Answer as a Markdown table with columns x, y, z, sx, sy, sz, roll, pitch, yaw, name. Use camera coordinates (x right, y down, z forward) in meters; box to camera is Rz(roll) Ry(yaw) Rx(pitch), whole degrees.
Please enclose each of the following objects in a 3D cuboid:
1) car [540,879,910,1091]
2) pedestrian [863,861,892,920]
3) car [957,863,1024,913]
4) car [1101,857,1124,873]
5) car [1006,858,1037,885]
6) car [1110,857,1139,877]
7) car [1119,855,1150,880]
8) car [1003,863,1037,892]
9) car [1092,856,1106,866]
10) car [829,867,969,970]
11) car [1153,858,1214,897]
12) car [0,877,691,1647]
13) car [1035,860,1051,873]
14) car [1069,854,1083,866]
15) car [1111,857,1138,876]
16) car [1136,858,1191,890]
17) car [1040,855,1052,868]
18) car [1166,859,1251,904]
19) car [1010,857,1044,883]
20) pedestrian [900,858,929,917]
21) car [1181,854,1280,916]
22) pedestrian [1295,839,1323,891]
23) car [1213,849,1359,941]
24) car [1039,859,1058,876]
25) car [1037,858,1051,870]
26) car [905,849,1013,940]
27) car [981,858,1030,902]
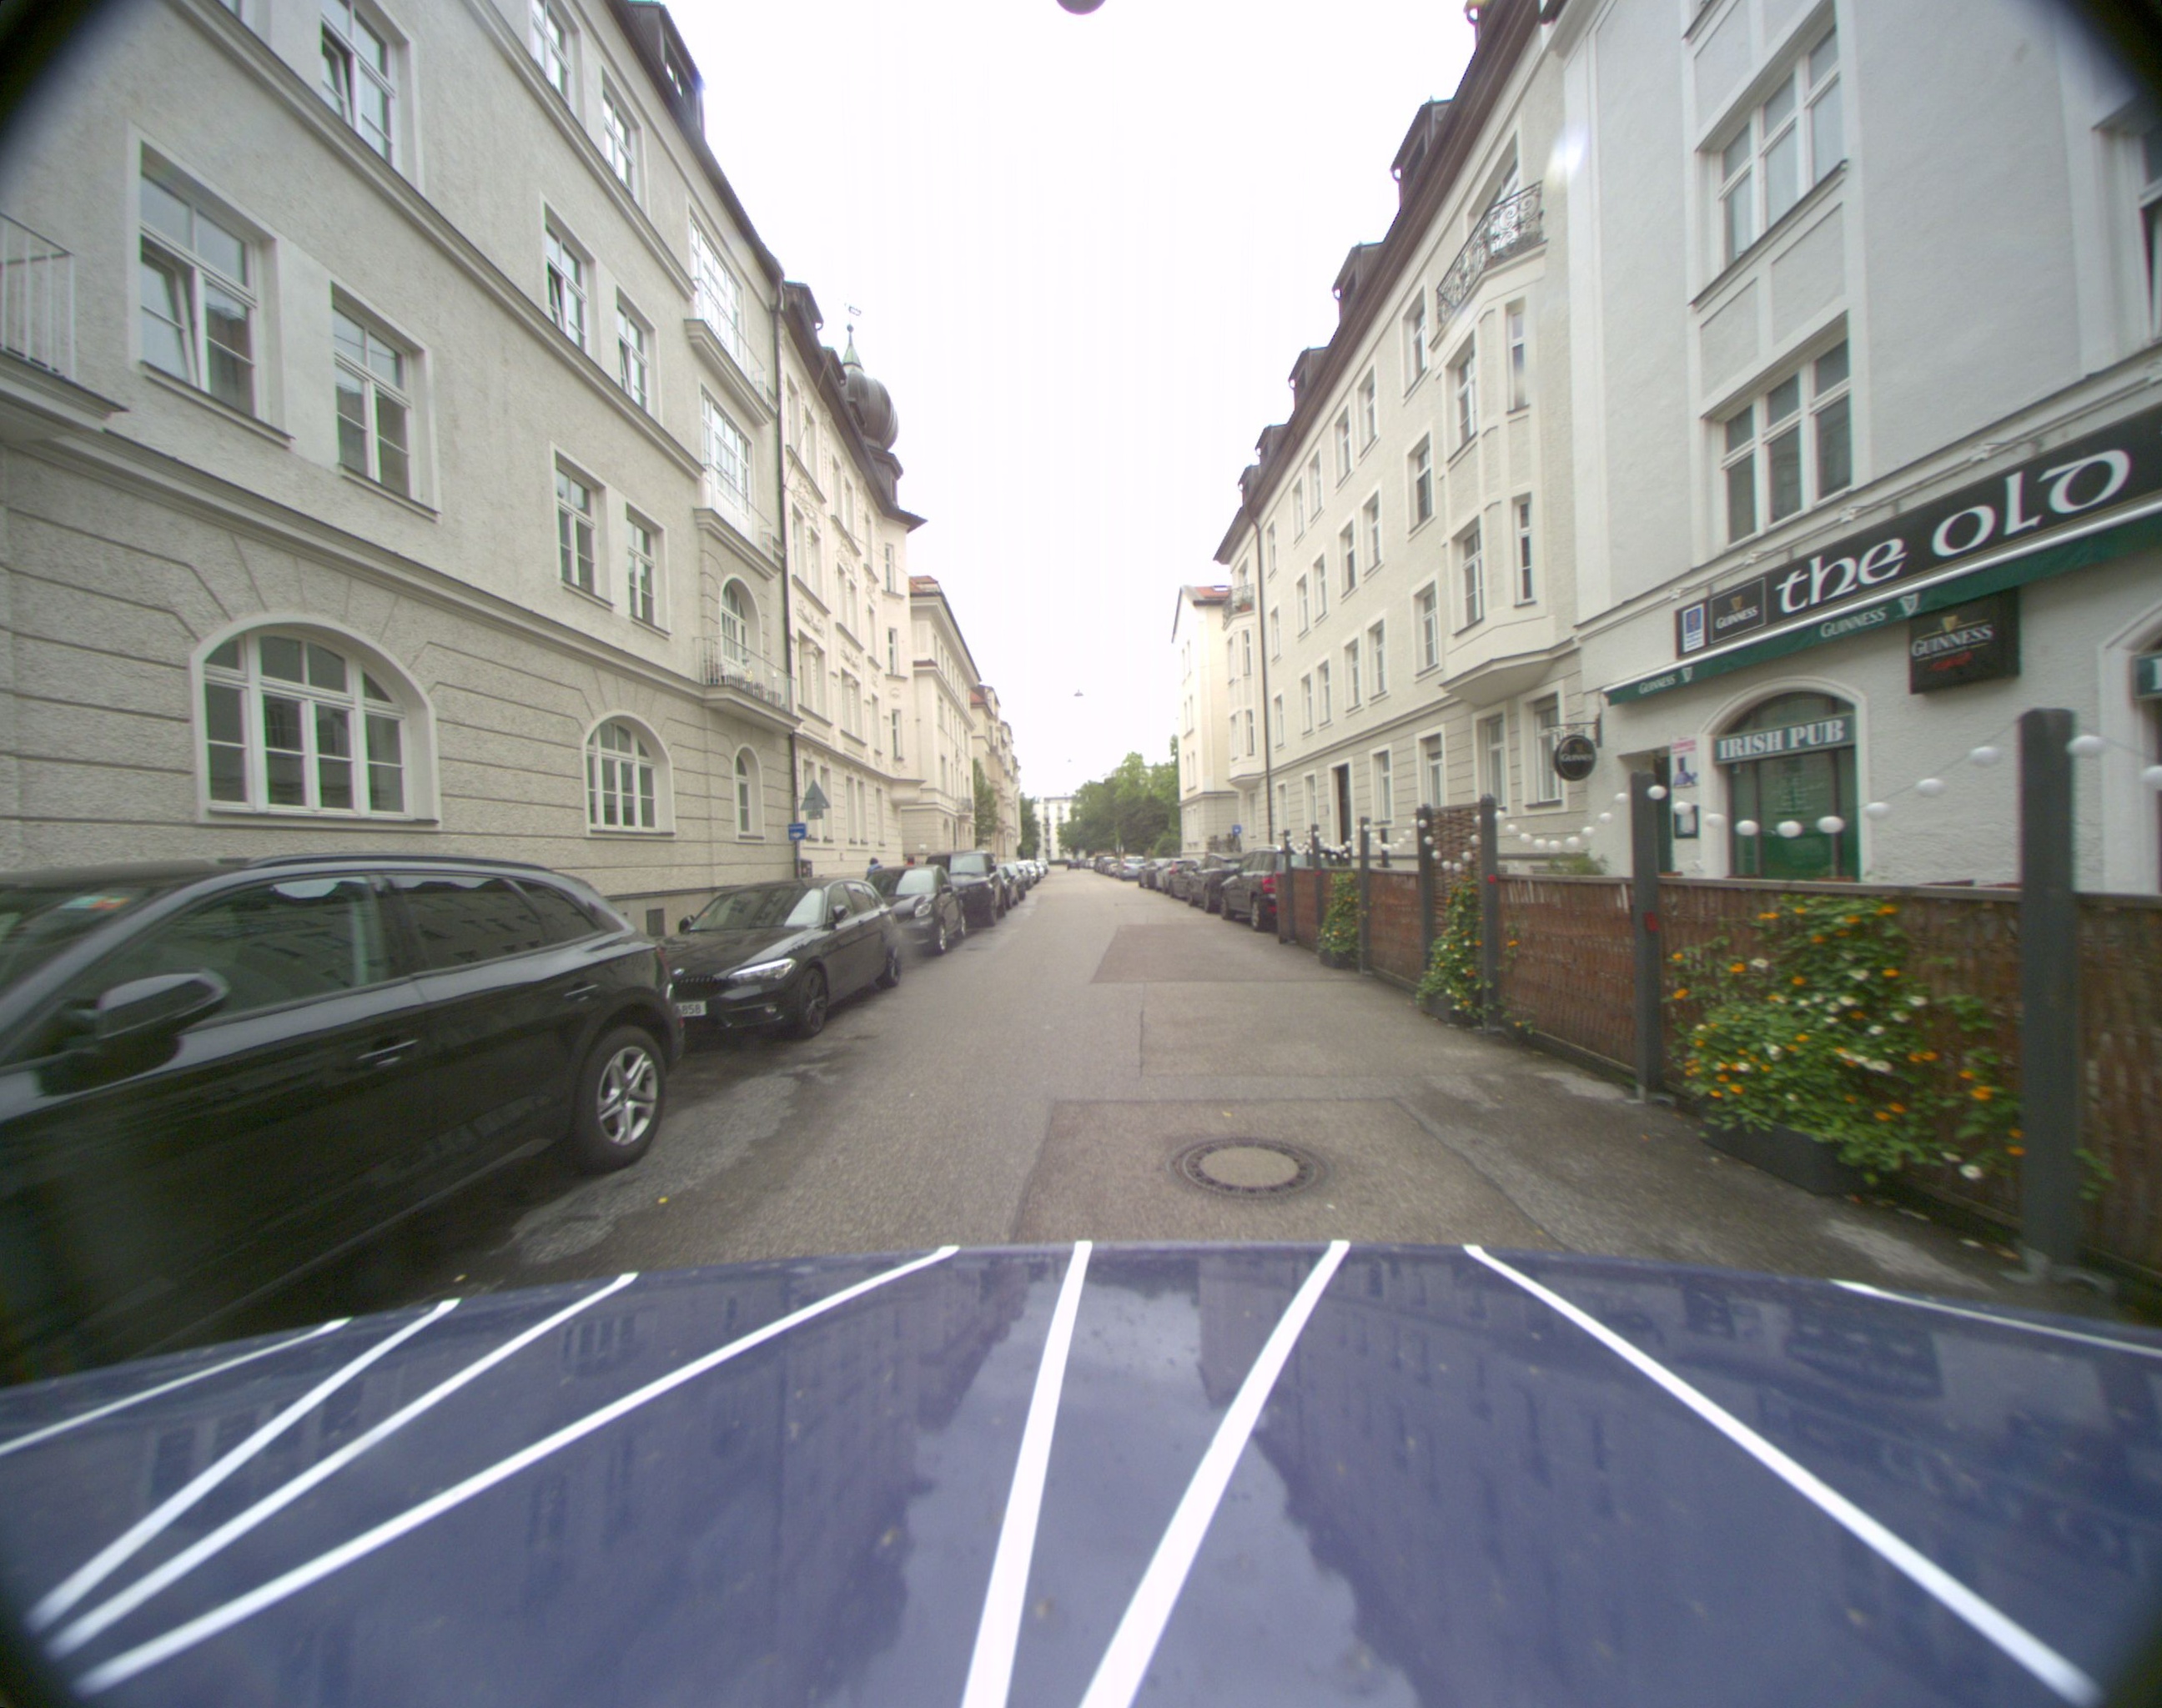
| x | y | z | sx | sy | sz | roll | pitch | yaw | name |
| --- | --- | --- | --- | --- | --- | --- | --- | --- | --- |
| -3.237 | 1.085 | 7.982 | 1.710 | 1.462 | 4.202 | -2 | 0 | 2 | car |
| -5.827 | 1.024 | 21.755 | 0.681 | 1.664 | 0.654 | 0 | 0 | -4 | pedestrian |
| -2.962 | 1.075 | 25.564 | 1.668 | 1.387 | 3.582 | -4 | 0 | 1 | car |
| 3.010 | 1.013 | 73.259 | 1.773 | 1.412 | 3.998 | -2 | 1 | -4 | car |
| -3.689 | 1.039 | 47.392 | 1.713 | 1.492 | 3.998 | -3 | 0 | -4 | car |
| 3.178 | 0.946 | 56.468 | 1.649 | 1.395 | 3.998 | 0 | 0 | -4 | car |
| 3.520 | 0.857 | 50.335 | 1.701 | 1.571 | 4.061 | 0 | 0 | -1 | car |
| -3.378 | 1.281 | 42.448 | 1.616 | 1.387 | 3.999 | -4 | 0 | -2 | car |
| 2.603 | 1.010 | 111.524 | 1.705 | 1.483 | 3.955 | -1 | 0 | -3 | car |
| -3.156 | 1.060 | 13.897 | 1.659 | 1.516 | 3.636 | -3 | 0 | -1 | car |
| 4.135 | 0.917 | 31.207 | 1.799 | 1.411 | 4.509 | 1 | 0 | -1 | car |
| -3.309 | 0.997 | 2.314 | 1.781 | 1.626 | 4.375 | -3 | 0 | 2 | car |
| -4.404 | 1.401 | 87.749 | 1.646 | 1.409 | 3.999 | -3 | 0 | -1 | car |
| -0.779 | 0.895 | 108.646 | 1.729 | 1.525 | 4.083 | -4 | 1 | -3 | car |
| 3.502 | 0.967 | 61.410 | 1.802 | 1.426 | 4.079 | -2 | 0 | -2 | car |
| 3.921 | 0.904 | 36.851 | 1.855 | 1.359 | 4.700 | -2 | 0 | -3 | car |
| -5.921 | 1.244 | 126.758 | 1.794 | 1.926 | 4.084 | -4 | 0 | -4 | car |
| 4.212 | 0.861 | 25.890 | 1.816 | 1.377 | 4.441 | -1 | 0 | -5 | car |
| -3.629 | 1.048 | 51.804 | 1.900 | 1.626 | 4.391 | -2 | -1 | 0 | car |
| -4.937 | 0.982 | 22.539 | 0.705 | 1.718 | 0.703 | -1 | 0 | -4 | pedestrian |
| 3.974 | 0.770 | 20.880 | 1.746 | 1.478 | 4.180 | -2 | 0 | -2 | car |
| 7.576 | 0.375 | 25.280 | 0.663 | 1.697 | 0.701 | -2 | 1 | 32 | pedestrian |
| 4.119 | 0.762 | 16.008 | 1.751 | 1.663 | 4.275 | 1 | 0 | -2 | car |
| -3.143 | 1.322 | 72.904 | 1.667 | 1.498 | 4.063 | -3 | -1 | -4 | car |
| -5.299 | 1.412 | 108.515 | 1.715 | 1.462 | 4.084 | -4 | 0 | -4 | car |
| -2.901 | 0.897 | 19.186 | 1.916 | 1.874 | 4.713 | -4 | 0 | -1 | car |
| -3.008 | 1.006 | 30.939 | 1.712 | 1.578 | 3.999 | -4 | 0 | -3 | car |
